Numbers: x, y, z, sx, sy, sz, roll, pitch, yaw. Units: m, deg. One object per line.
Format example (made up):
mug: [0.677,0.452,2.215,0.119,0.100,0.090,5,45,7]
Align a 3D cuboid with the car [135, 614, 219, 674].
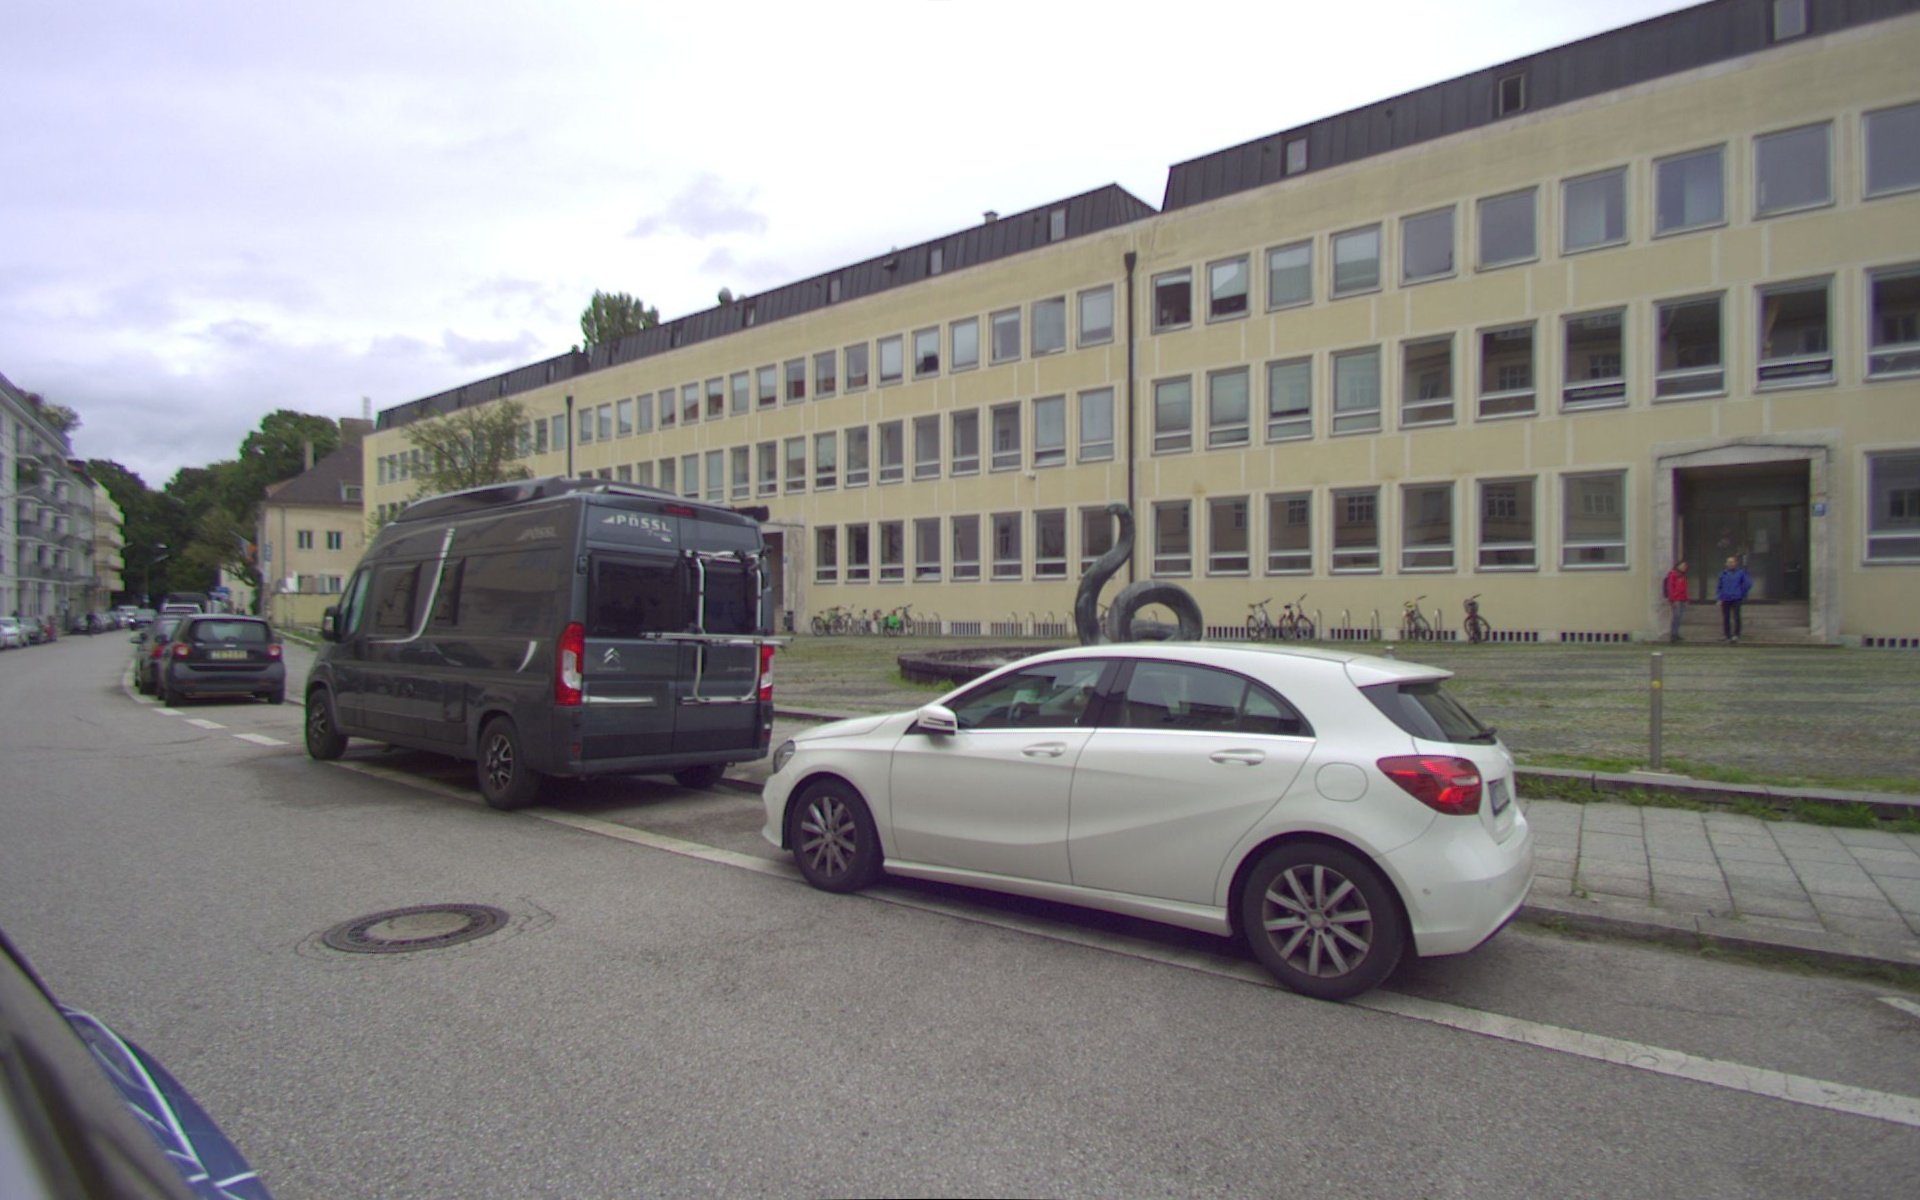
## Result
car: [-21.856,1.166,28.195,1.699,1.492,4.212,1,-1,-40]

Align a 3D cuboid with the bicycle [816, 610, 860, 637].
bicycle: [-4.553,0.872,37.987,0.437,0.923,1.883,-1,2,37]

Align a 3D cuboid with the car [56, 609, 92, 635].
car: [-64.470,1.599,73.661,1.614,1.749,3.889,-3,2,-37]

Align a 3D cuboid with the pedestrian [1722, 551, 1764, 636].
pedestrian: [16.445,-0.144,21.264,0.645,1.757,0.708,-1,1,35]

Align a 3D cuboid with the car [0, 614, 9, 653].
car: [-41.345,1.433,42.387,1.755,1.603,3.710,-3,2,-37]

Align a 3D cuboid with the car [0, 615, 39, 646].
car: [-47.163,1.516,50.262,1.716,1.385,4.031,-3,2,-38]

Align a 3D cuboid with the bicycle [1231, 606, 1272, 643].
bicycle: [8.039,0.665,27.871,0.437,0.923,1.883,-1,2,37]

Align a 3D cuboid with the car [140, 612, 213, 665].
car: [-25.154,1.194,32.431,1.699,1.541,4.007,1,-1,-40]

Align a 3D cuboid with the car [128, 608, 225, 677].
car: [-18.884,0.971,24.334,1.699,1.492,3.761,1,-1,-40]

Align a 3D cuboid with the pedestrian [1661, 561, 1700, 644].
pedestrian: [15.558,0.053,21.872,0.645,1.757,0.708,-1,1,35]

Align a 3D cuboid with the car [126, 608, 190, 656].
car: [-29.394,1.126,37.069,1.718,1.557,4.090,-3,2,-39]

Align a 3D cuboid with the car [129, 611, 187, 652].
car: [-32.190,1.225,40.677,1.718,1.478,3.693,-3,2,-38]

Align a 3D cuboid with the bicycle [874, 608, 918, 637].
bicycle: [-2.267,0.782,36.195,0.437,0.923,1.883,-1,2,37]

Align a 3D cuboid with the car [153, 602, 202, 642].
car: [-41.112,1.111,53.138,1.919,1.991,4.363,1,-1,-39]

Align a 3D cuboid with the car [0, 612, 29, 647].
car: [-43.982,1.367,46.172,1.813,1.469,4.031,-3,2,-38]

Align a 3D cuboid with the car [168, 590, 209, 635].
car: [-48.777,0.760,64.040,1.967,2.738,4.971,0,0,-37]

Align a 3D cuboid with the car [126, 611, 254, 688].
car: [-15.644,0.947,20.477,1.700,1.374,4.218,3,-2,-42]

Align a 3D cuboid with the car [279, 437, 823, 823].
car: [-4.197,0.241,9.630,6.206,2.594,2.122,-1,-2,40]

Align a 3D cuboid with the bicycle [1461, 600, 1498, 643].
bicycle: [12.449,0.494,24.235,0.437,0.923,1.883,-1,2,37]

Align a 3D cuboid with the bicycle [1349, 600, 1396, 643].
bicycle: [10.442,0.529,25.572,0.532,0.986,1.859,-1,2,41]

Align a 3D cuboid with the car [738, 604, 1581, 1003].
car: [0.907,0.788,5.524,4.132,1.398,1.811,-1,-4,35]

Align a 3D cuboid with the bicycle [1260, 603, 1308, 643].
bicycle: [8.693,0.598,27.136,0.532,0.947,1.859,-1,2,41]

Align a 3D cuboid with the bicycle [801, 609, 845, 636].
bicycle: [-5.193,0.861,38.486,0.437,0.923,1.883,-1,2,37]

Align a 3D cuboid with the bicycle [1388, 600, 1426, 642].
bicycle: [11.081,0.500,25.067,0.437,0.923,1.883,-1,2,37]

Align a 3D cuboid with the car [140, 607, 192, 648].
car: [-35.281,1.201,45.000,1.718,1.701,4.131,1,-1,-38]

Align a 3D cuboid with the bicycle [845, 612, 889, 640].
bicycle: [-3.409,0.952,37.133,0.437,0.923,1.883,-1,2,37]

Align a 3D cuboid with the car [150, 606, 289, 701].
car: [-12.805,0.869,17.447,1.646,1.471,2.872,3,-2,-41]

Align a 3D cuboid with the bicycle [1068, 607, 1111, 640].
bicycle: [4.073,0.714,31.635,0.437,0.923,1.883,-1,2,37]
